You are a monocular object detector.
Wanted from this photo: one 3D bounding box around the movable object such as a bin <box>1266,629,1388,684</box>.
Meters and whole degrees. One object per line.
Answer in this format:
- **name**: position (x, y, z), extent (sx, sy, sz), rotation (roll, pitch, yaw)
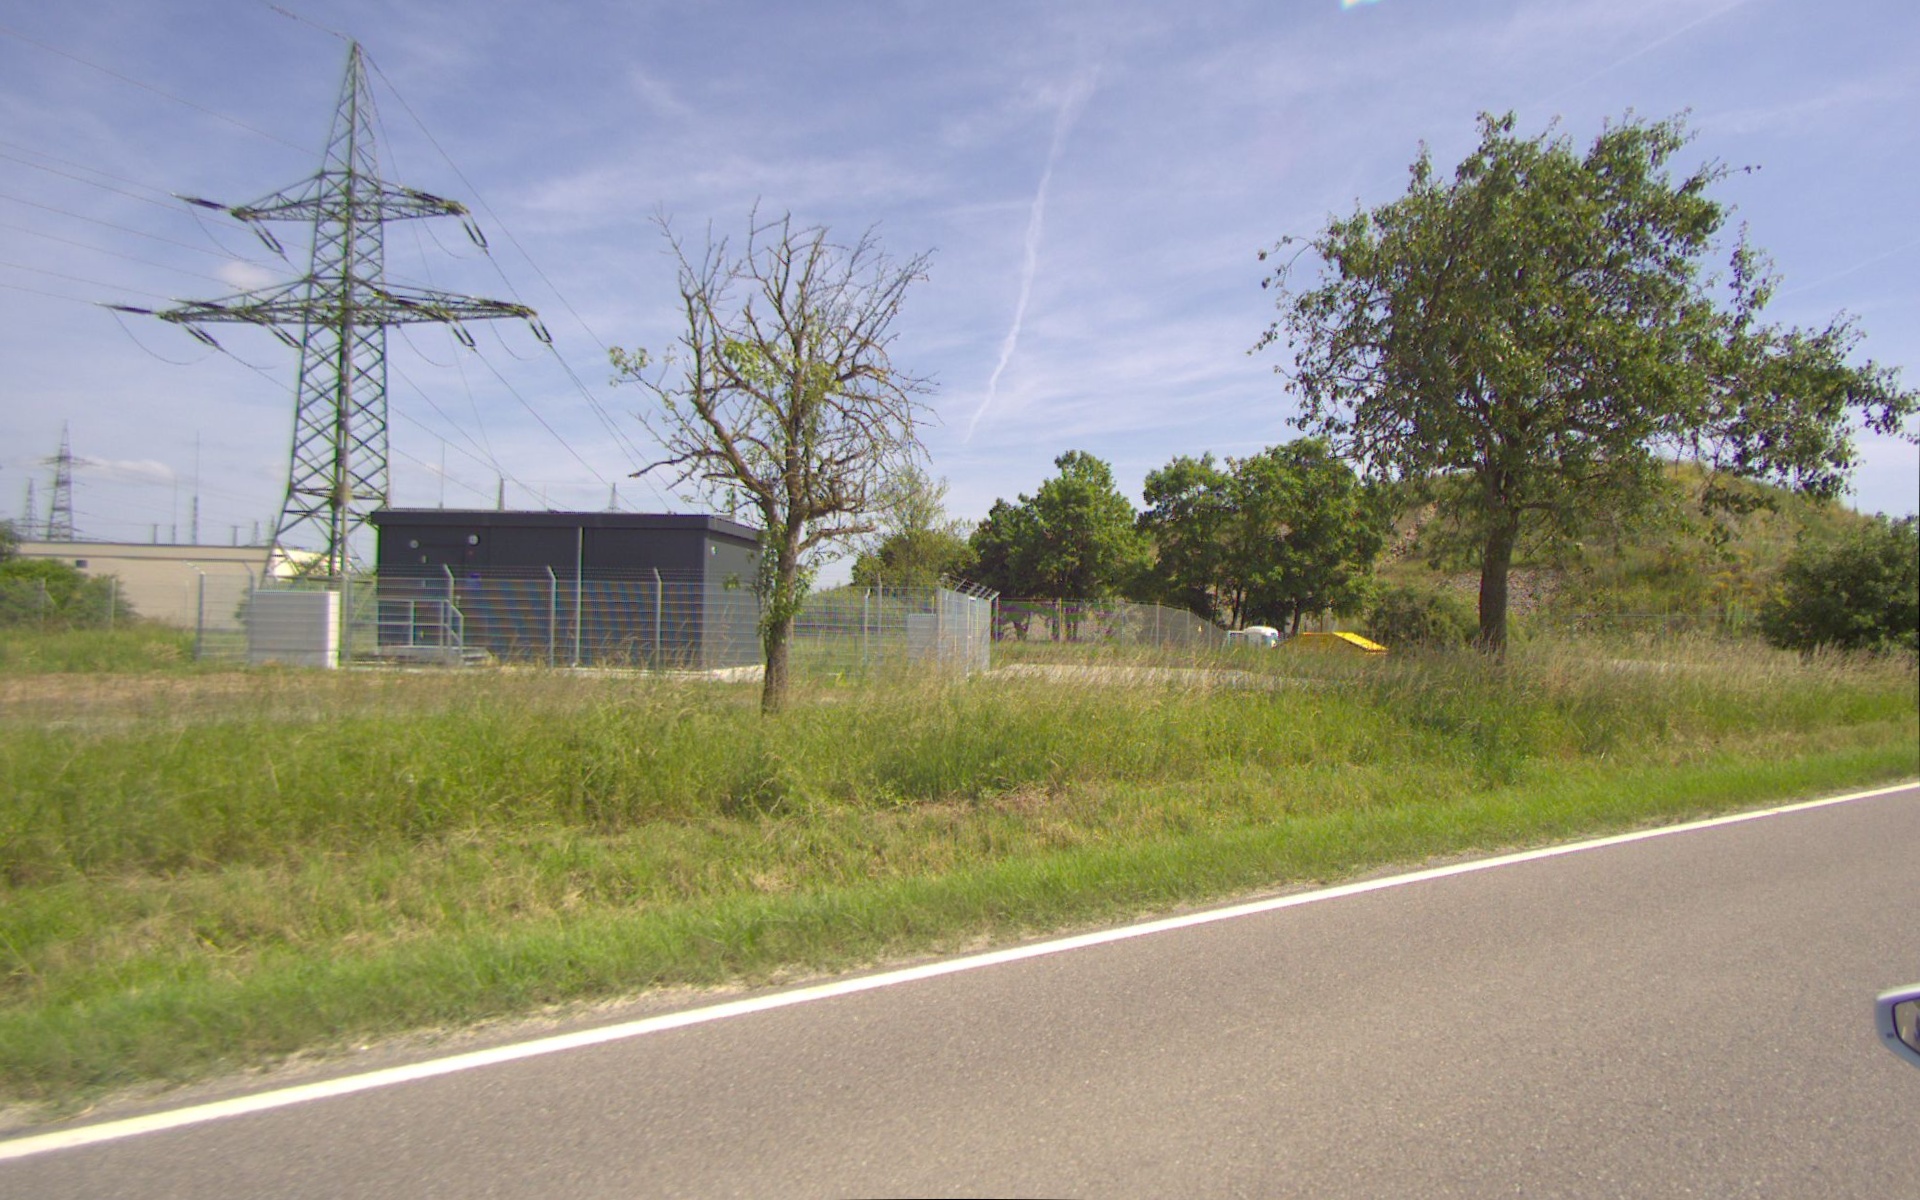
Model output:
- **movable object such as a bin**: position (15.199, 2.292, 41.735), extent (2.157, 1.940, 4.236), rotation (1, 1, -43)
